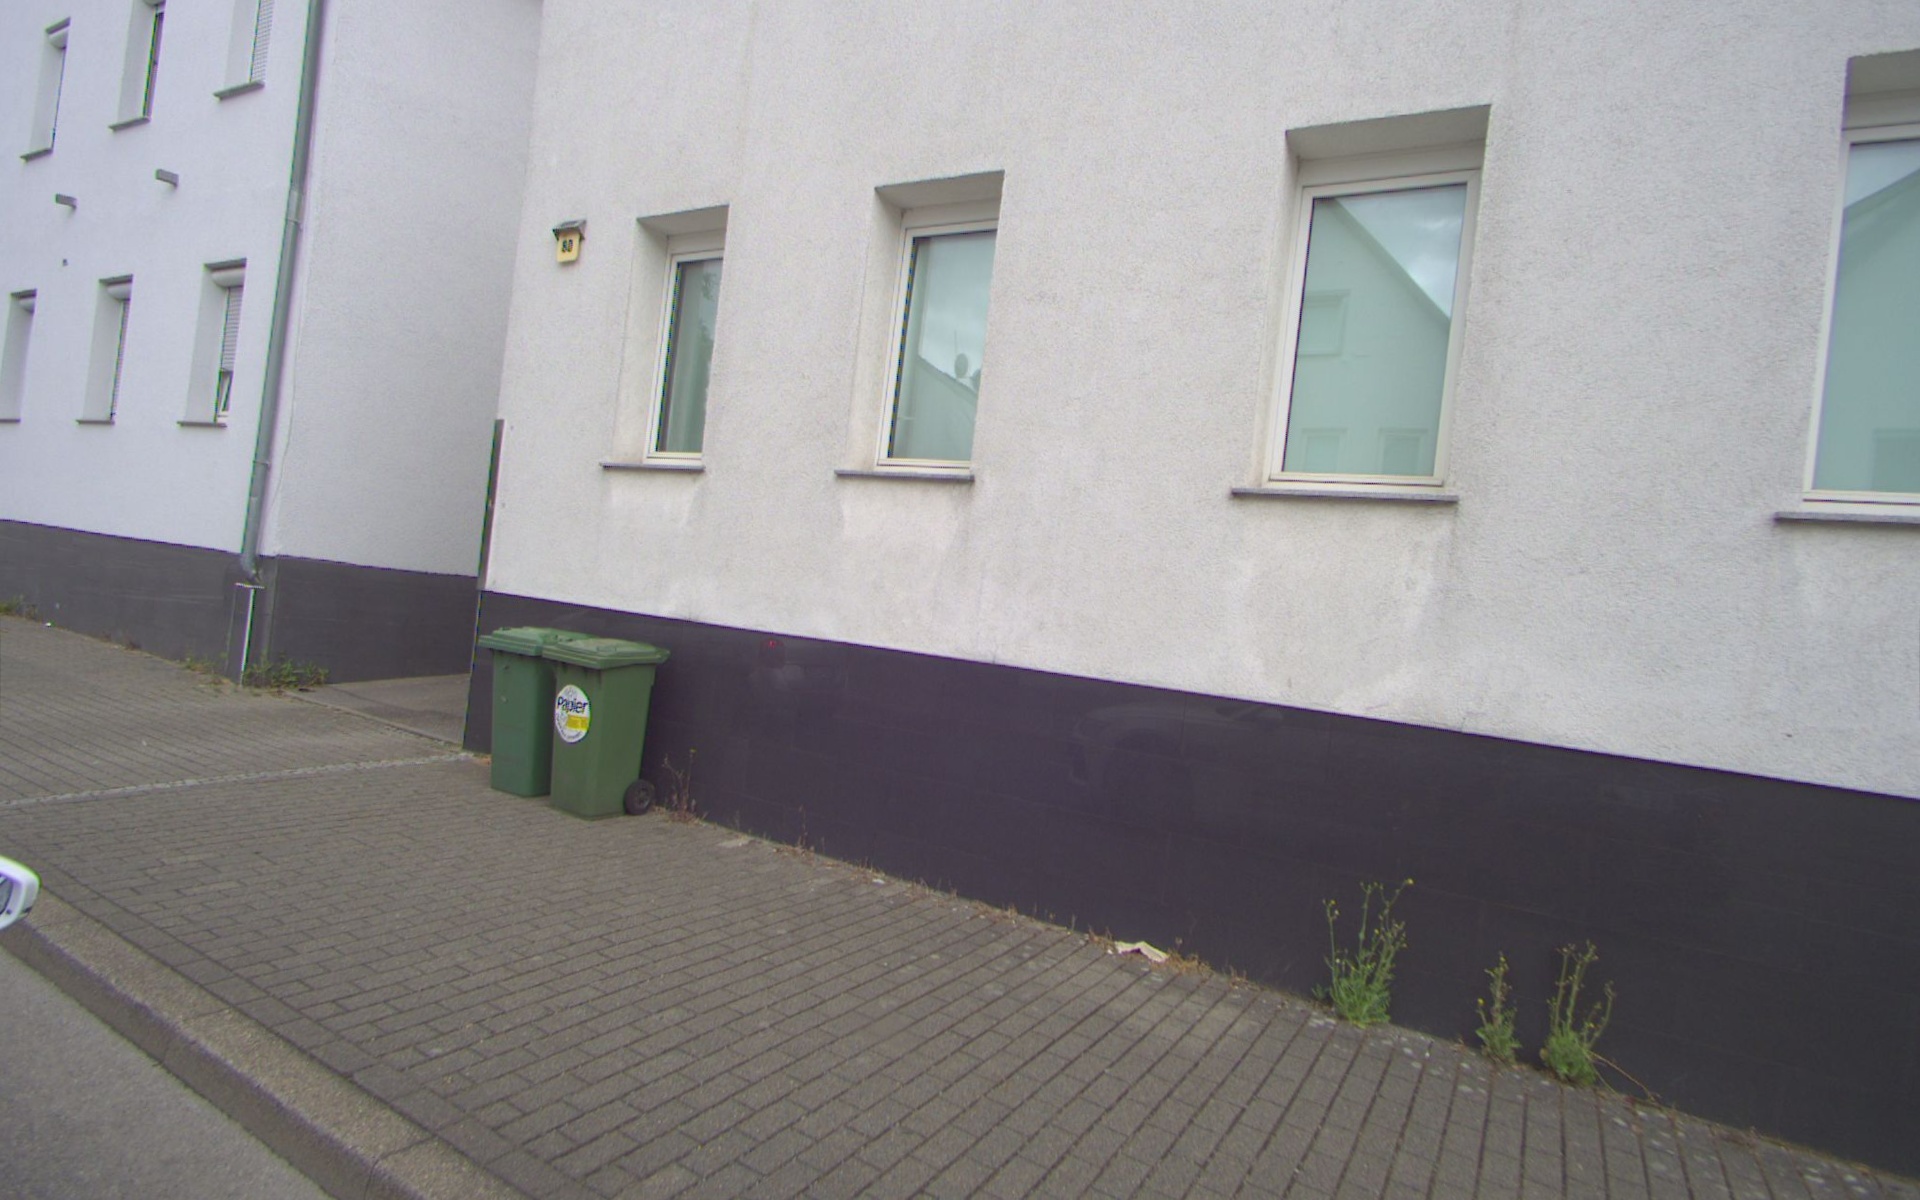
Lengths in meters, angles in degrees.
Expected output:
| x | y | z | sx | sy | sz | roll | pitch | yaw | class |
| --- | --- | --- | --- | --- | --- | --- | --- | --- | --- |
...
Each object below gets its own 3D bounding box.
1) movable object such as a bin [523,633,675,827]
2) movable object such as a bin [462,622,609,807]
| x | y | z | sx | sy | sz | roll | pitch | yaw | class |
| --- | --- | --- | --- | --- | --- | --- | --- | --- | --- |
| -1.970 | 0.683 | 5.511 | 0.479 | 0.953 | 0.540 | 7 | 2 | 32 | movable object such as a bin |
| -2.428 | 0.629 | 5.768 | 0.479 | 0.953 | 0.540 | 7 | 2 | 32 | movable object such as a bin |
